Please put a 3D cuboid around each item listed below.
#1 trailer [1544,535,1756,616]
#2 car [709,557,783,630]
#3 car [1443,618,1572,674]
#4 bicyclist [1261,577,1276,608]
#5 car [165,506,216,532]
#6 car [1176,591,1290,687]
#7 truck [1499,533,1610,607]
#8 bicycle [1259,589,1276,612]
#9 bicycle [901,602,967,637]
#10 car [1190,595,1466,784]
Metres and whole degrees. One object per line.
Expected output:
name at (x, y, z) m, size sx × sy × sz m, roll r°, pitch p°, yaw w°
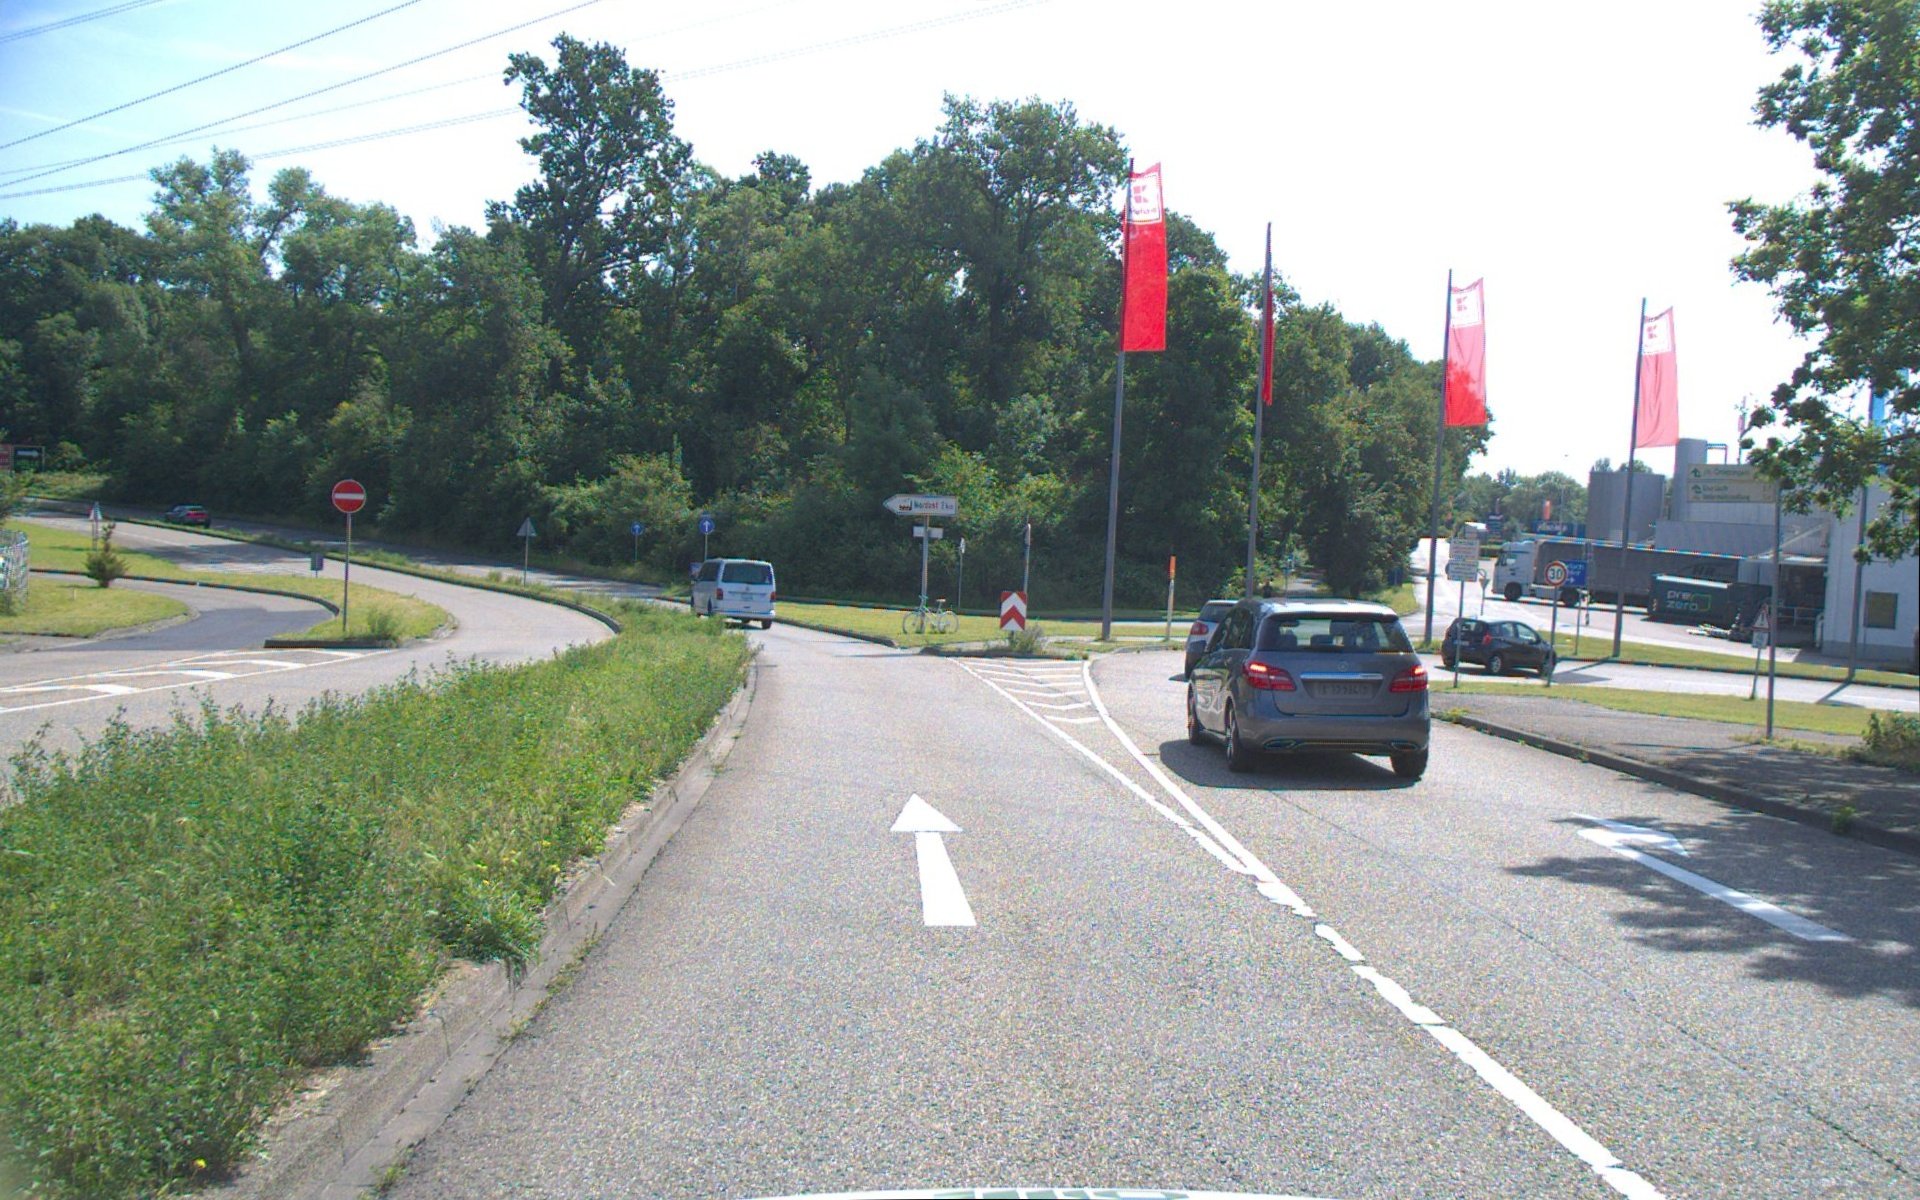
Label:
trailer at (45.034, -1.708, 108.150) m, size 12.429 × 4.491 × 3.754 m, roll 4°, pitch 4°, yaw 26°
car at (-6.464, -0.222, 49.547) m, size 2.002 × 2.048 × 3.991 m, roll 2°, pitch 1°, yaw -10°
car at (15.610, 1.318, 47.091) m, size 3.705 × 1.354 × 1.755 m, roll 3°, pitch 2°, yaw -40°
bicyclist at (16.257, -0.394, 87.238) m, size 0.661 × 1.560 × 0.847 m, roll 3°, pitch 3°, yaw 13°
car at (-53.458, -5.637, 114.878) m, size 3.583 × 1.593 × 1.647 m, roll 5°, pitch 4°, yaw 34°
car at (5.138, 0.681, 31.583) m, size 1.817 × 1.555 × 4.147 m, roll 4°, pitch 1°, yaw 6°
truck at (39.808, -2.082, 110.704) m, size 6.419 × 4.491 × 3.754 m, roll 4°, pitch 4°, yaw 26°
bicycle at (16.240, 0.017, 87.275) m, size 0.708 × 0.994 × 2.189 m, roll 3°, pitch 4°, yaw 13°
bicycle at (-0.682, 0.509, 43.275) m, size 1.761 × 0.904 × 0.269 m, roll 1°, pitch 1°, yaw -26°
car at (3.366, 0.746, 15.903) m, size 1.818 × 1.556 × 4.145 m, roll 1°, pitch 0°, yaw 1°
